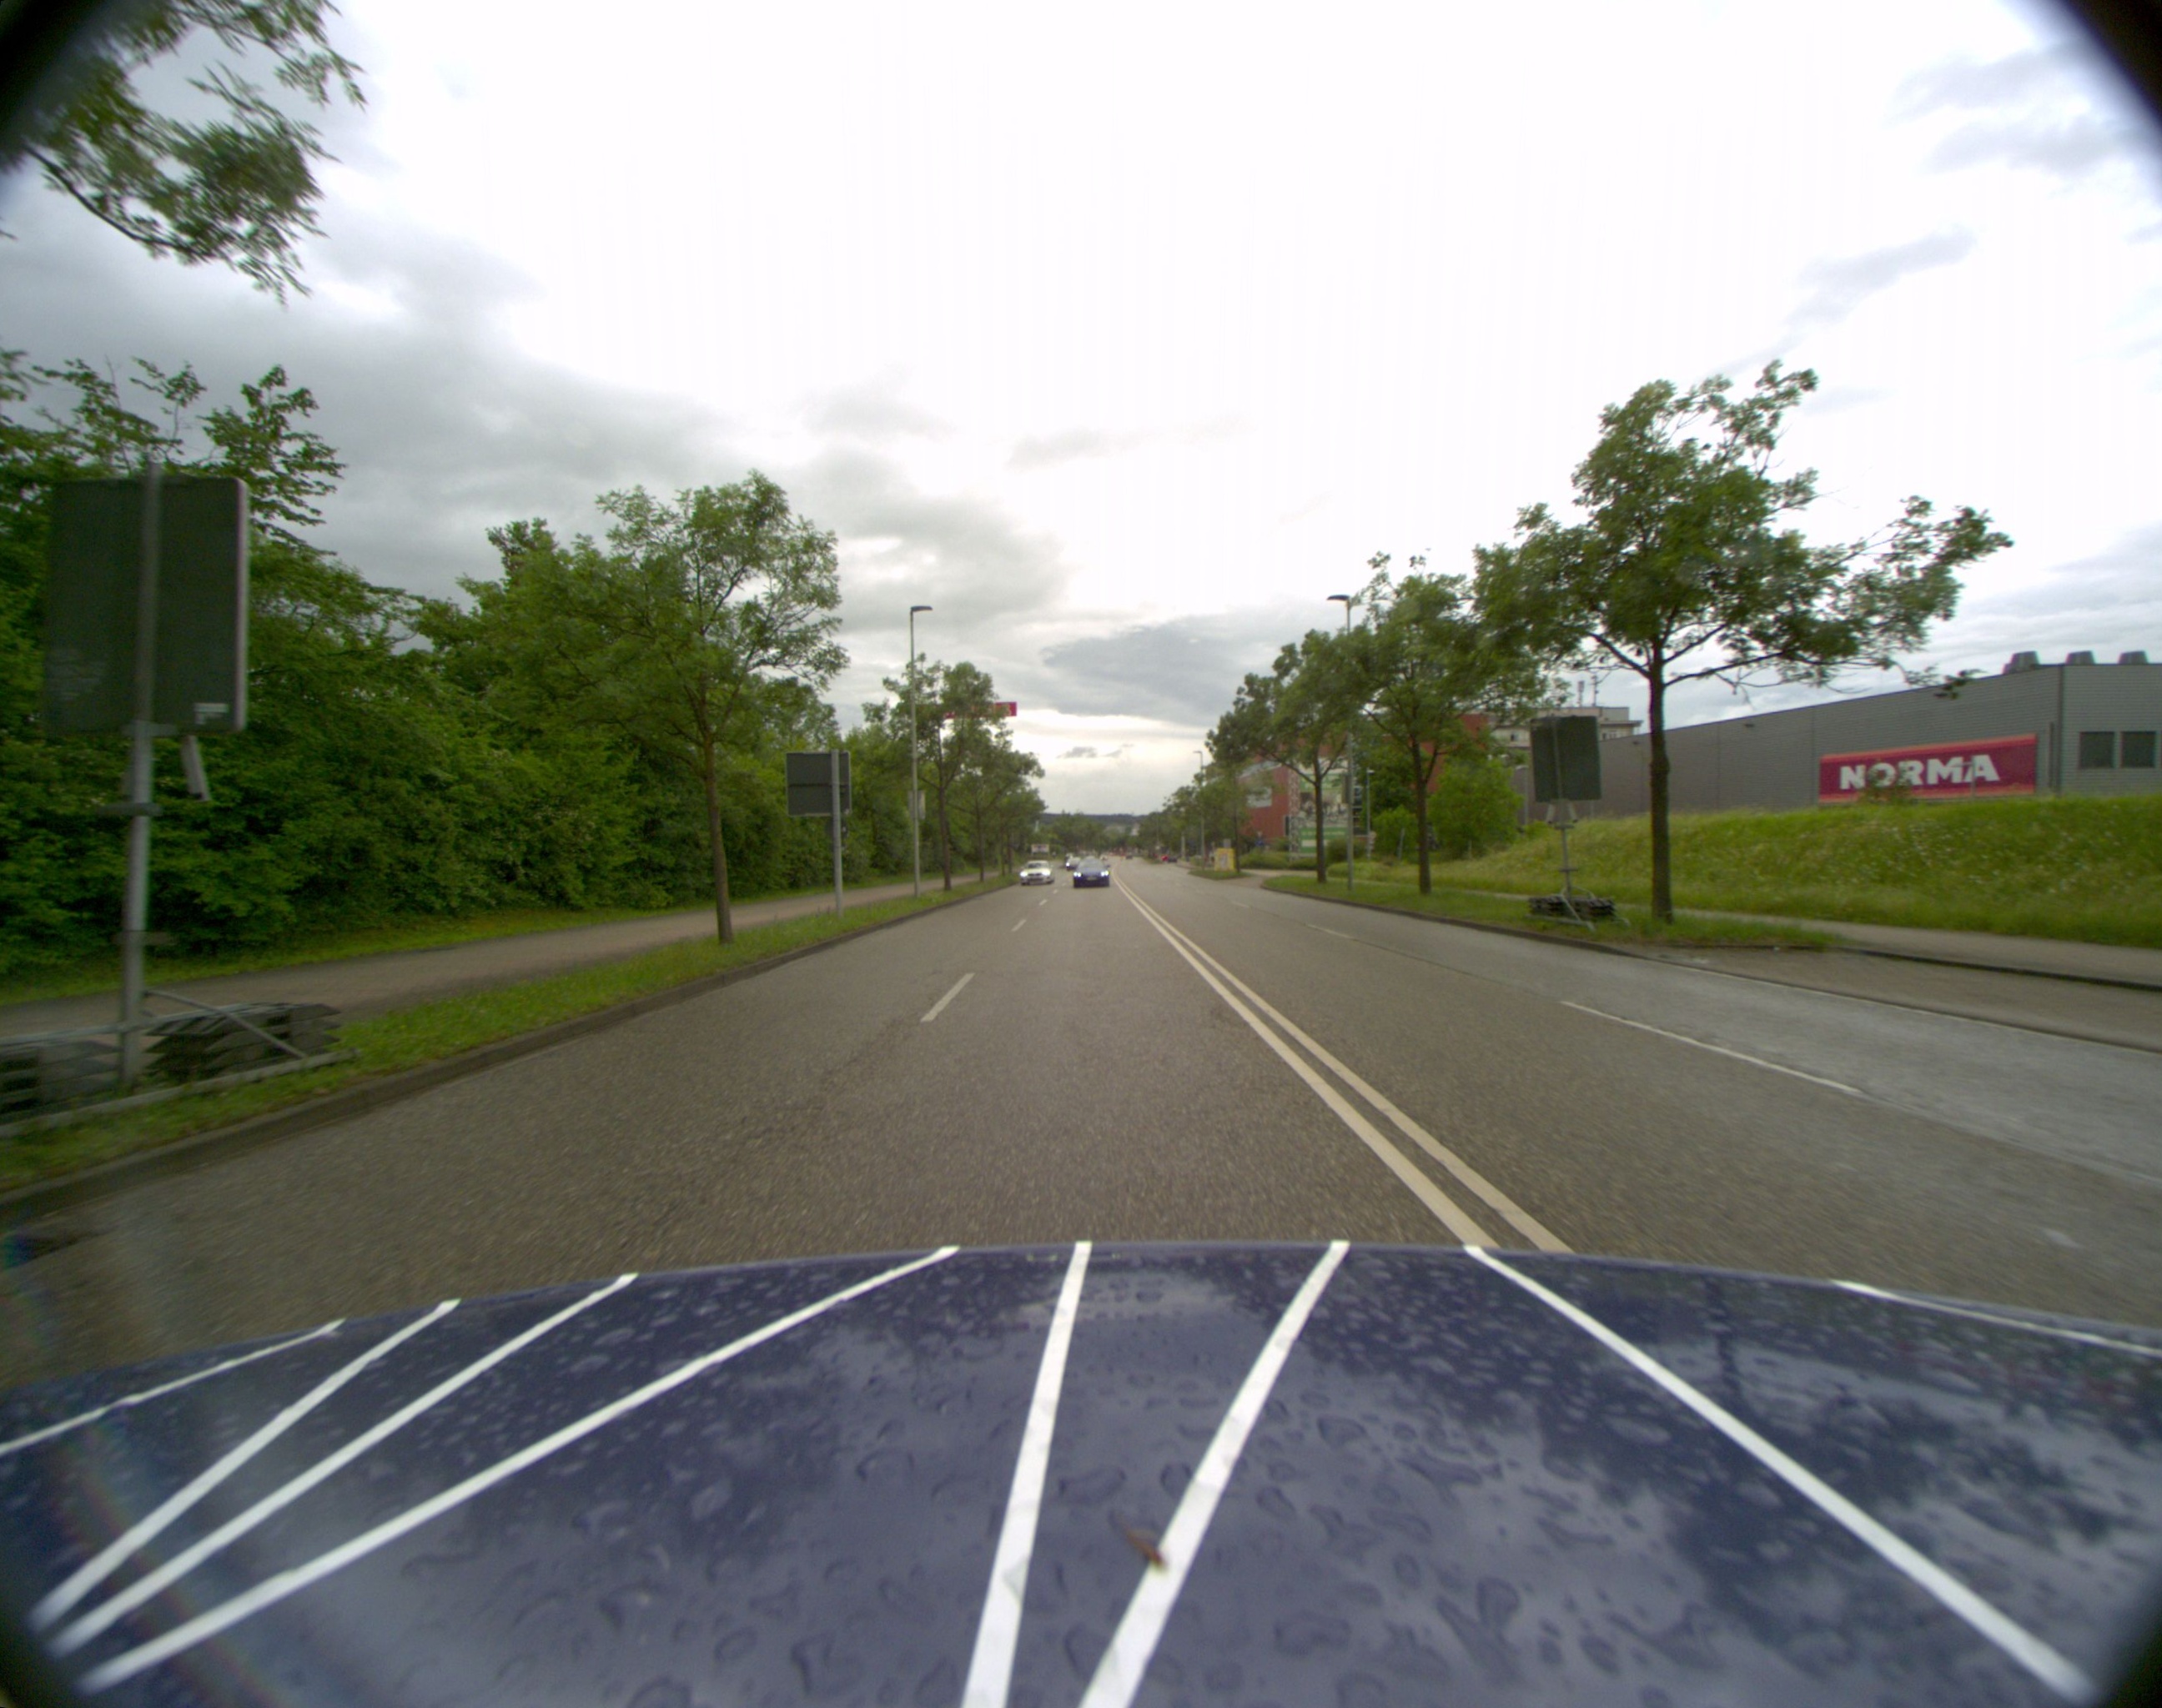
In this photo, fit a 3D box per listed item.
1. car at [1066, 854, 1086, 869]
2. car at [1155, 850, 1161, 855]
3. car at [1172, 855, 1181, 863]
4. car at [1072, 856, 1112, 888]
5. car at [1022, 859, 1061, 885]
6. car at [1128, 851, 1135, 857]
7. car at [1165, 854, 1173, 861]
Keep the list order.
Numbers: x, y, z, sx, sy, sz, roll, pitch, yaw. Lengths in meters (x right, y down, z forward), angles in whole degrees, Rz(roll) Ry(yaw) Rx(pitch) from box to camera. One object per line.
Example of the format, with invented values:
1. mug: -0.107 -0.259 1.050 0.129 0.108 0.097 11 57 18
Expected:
1. car: -0.594 0.860 91.030 2.113 1.610 4.841 -2 0 3
2. car: 25.559 -0.390 251.298 1.831 1.608 4.002 -2 0 9
3. car: 18.656 0.955 148.959 1.740 1.445 4.002 1 0 6
4. car: 0.631 0.887 39.012 1.827 1.473 4.841 -2 0 3
5. car: -2.446 1.067 47.587 1.863 1.473 4.001 -2 0 5
6. car: 14.212 0.024 213.470 1.863 1.568 4.321 1 0 3
7. car: 20.753 0.789 179.464 1.679 1.497 4.218 0 0 6
